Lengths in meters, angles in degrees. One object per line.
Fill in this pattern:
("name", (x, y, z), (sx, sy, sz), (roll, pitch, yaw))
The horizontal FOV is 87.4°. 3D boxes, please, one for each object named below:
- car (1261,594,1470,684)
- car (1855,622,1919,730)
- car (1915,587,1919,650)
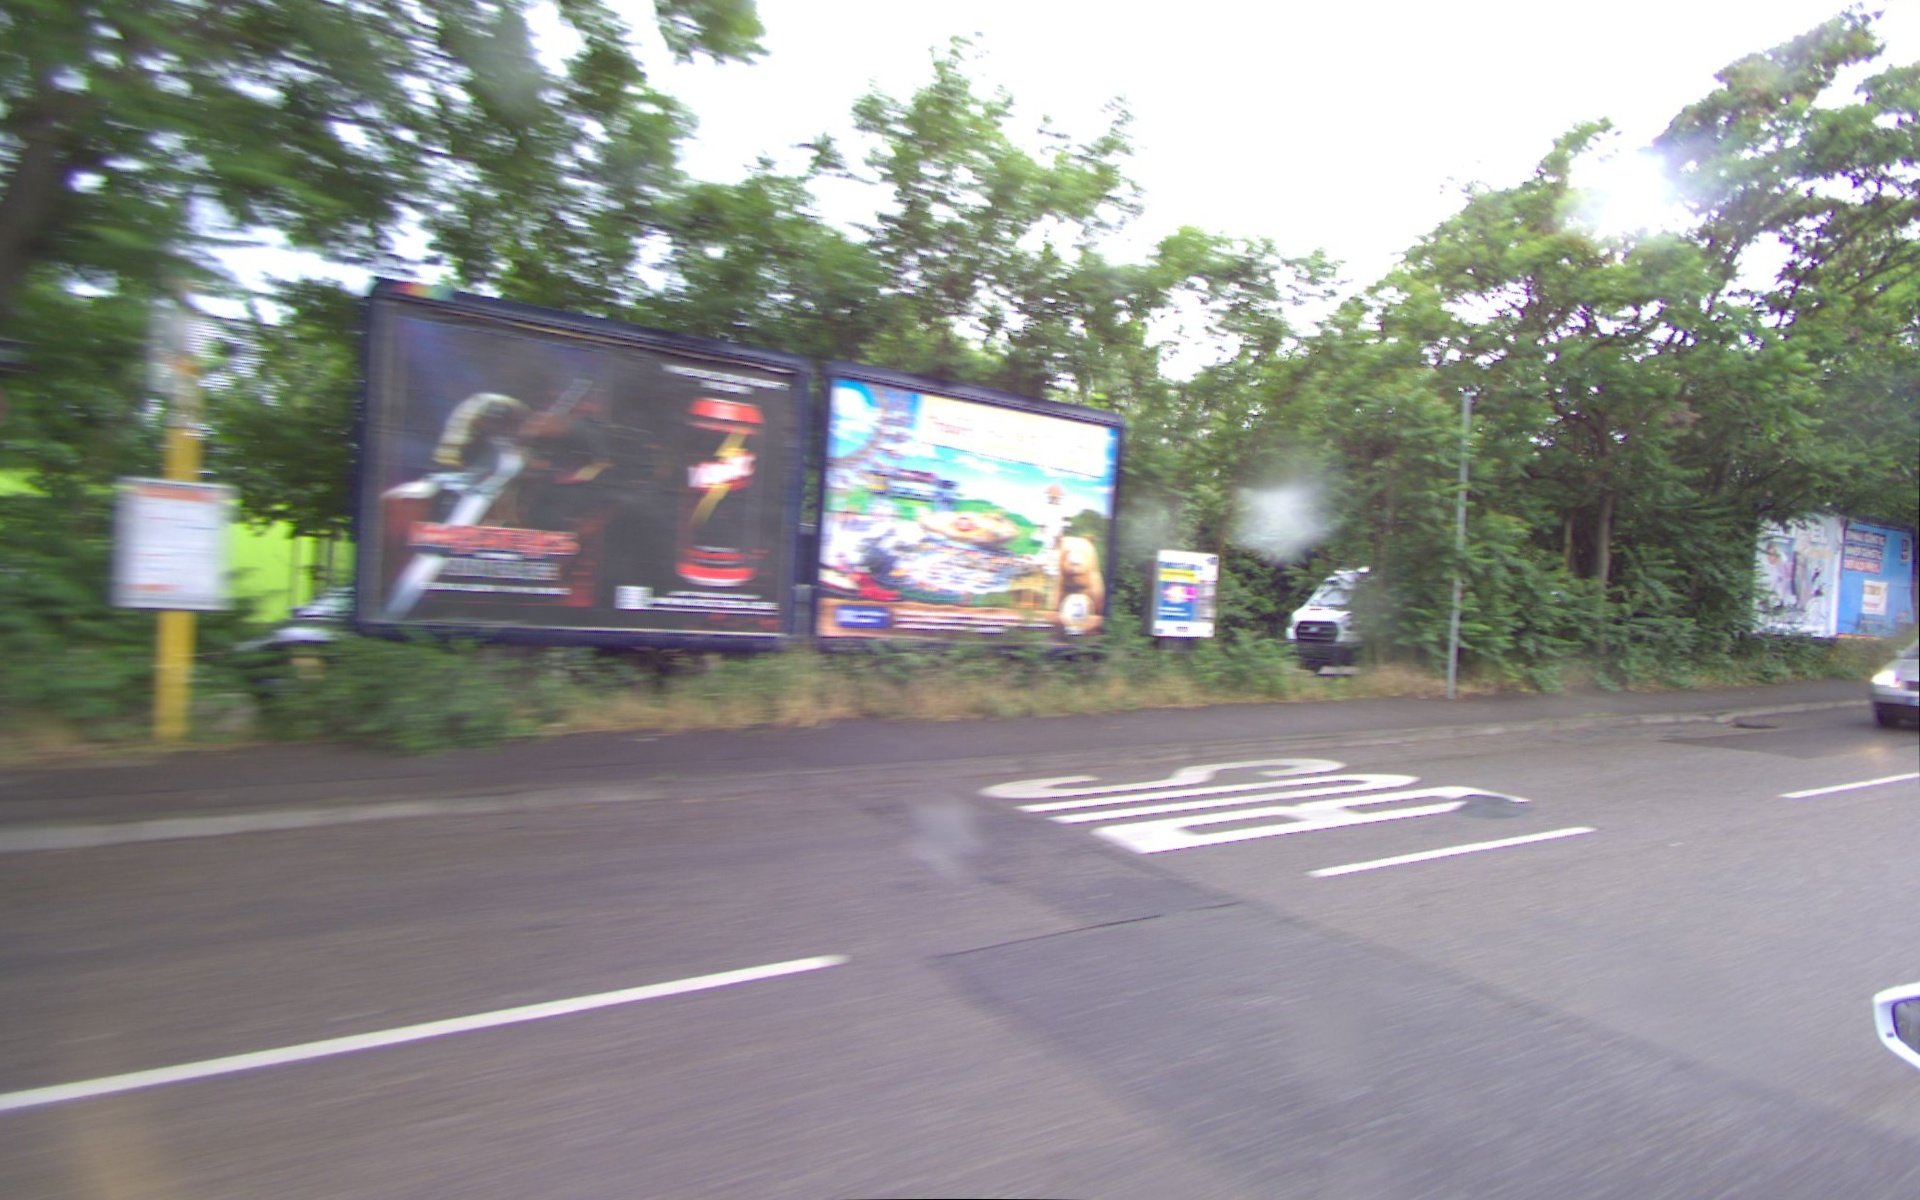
("car", (7.997, 0.750, 19.735), (3.953, 1.515, 1.694), (2, 3, -30))
("car", (14.585, 1.044, 14.309), (3.889, 1.436, 1.646), (1, -1, -30))
("car", (42.276, 0.864, 40.480), (2.128, 2.664, 5.022), (1, 1, -30))
